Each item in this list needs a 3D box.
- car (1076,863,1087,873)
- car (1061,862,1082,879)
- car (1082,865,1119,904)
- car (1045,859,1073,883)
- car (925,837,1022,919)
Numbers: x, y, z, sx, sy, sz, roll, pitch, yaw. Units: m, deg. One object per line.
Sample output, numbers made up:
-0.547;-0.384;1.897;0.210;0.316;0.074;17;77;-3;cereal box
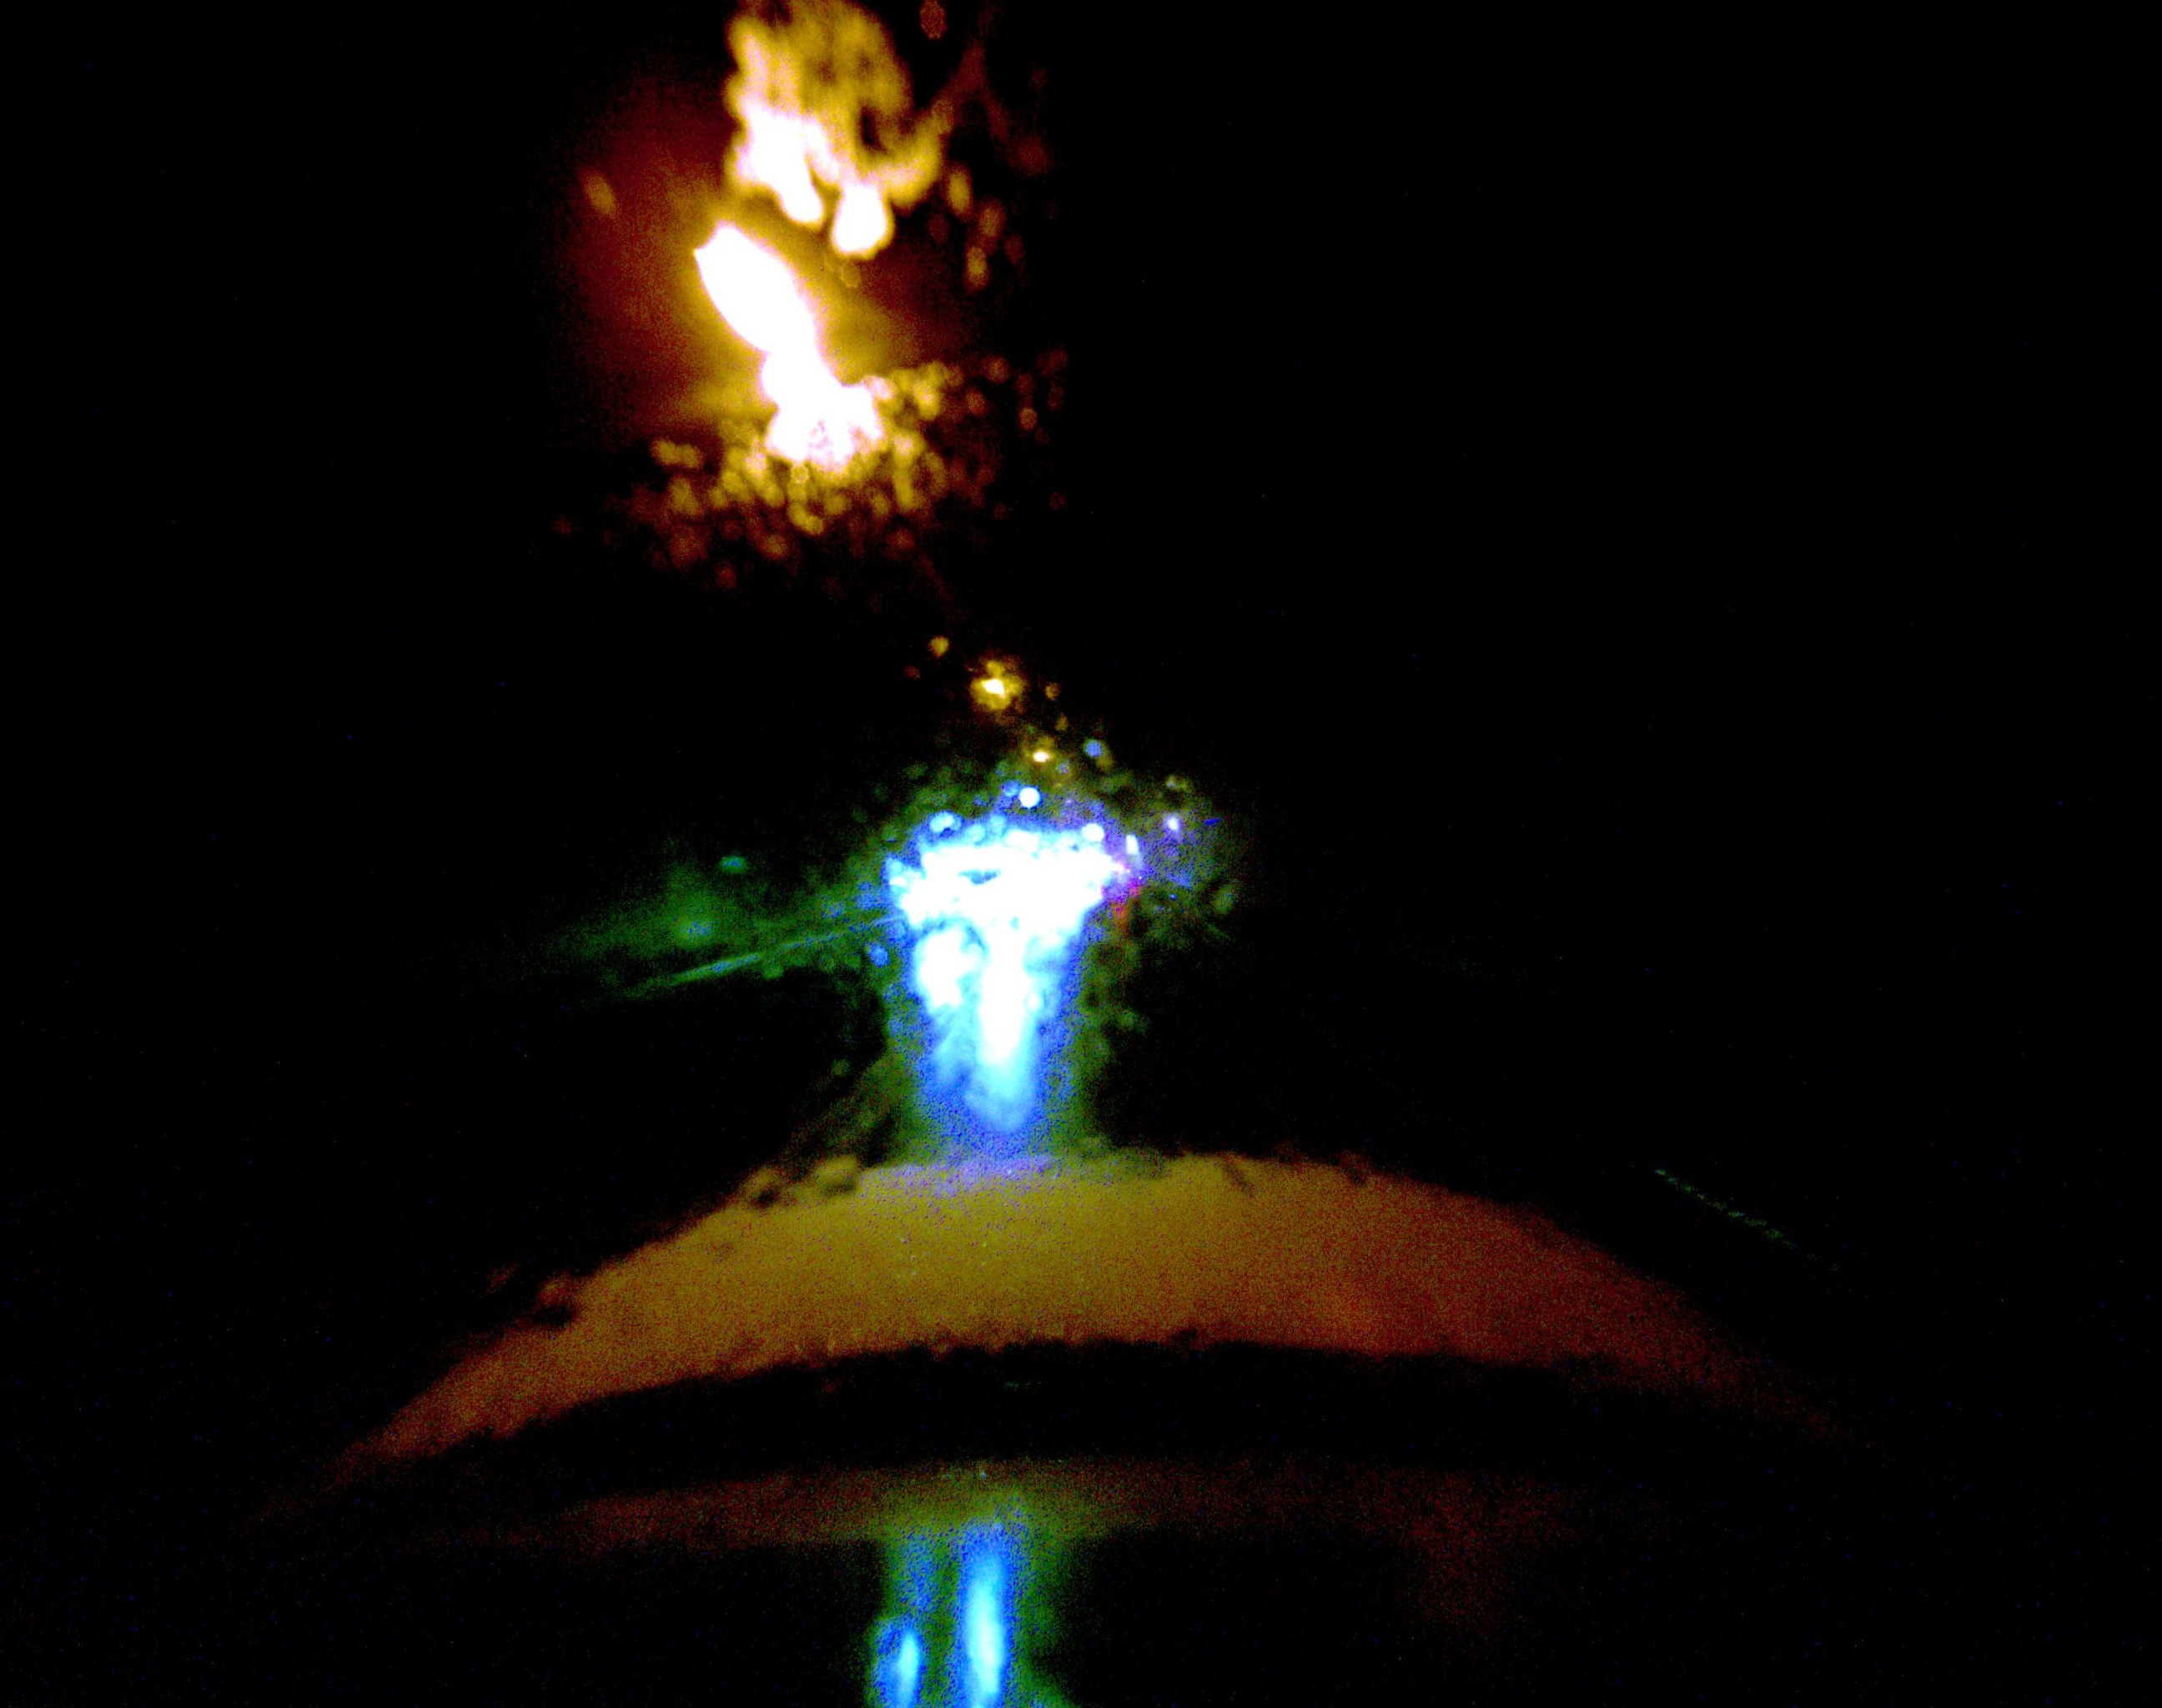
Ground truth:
0.163;2.283;136.002;1.691;1.676;4.128;-1;-1;2;car
-1.064;1.731;86.617;1.911;1.728;3.993;0;-1;-5;car
0.947;1.399;38.694;1.629;1.758;4.147;-1;-1;2;car
-1.613;1.234;60.308;1.774;1.676;4.562;-1;-1;2;car
-2.759;0.600;22.058;1.774;1.928;5.140;-1;-1;2;car
